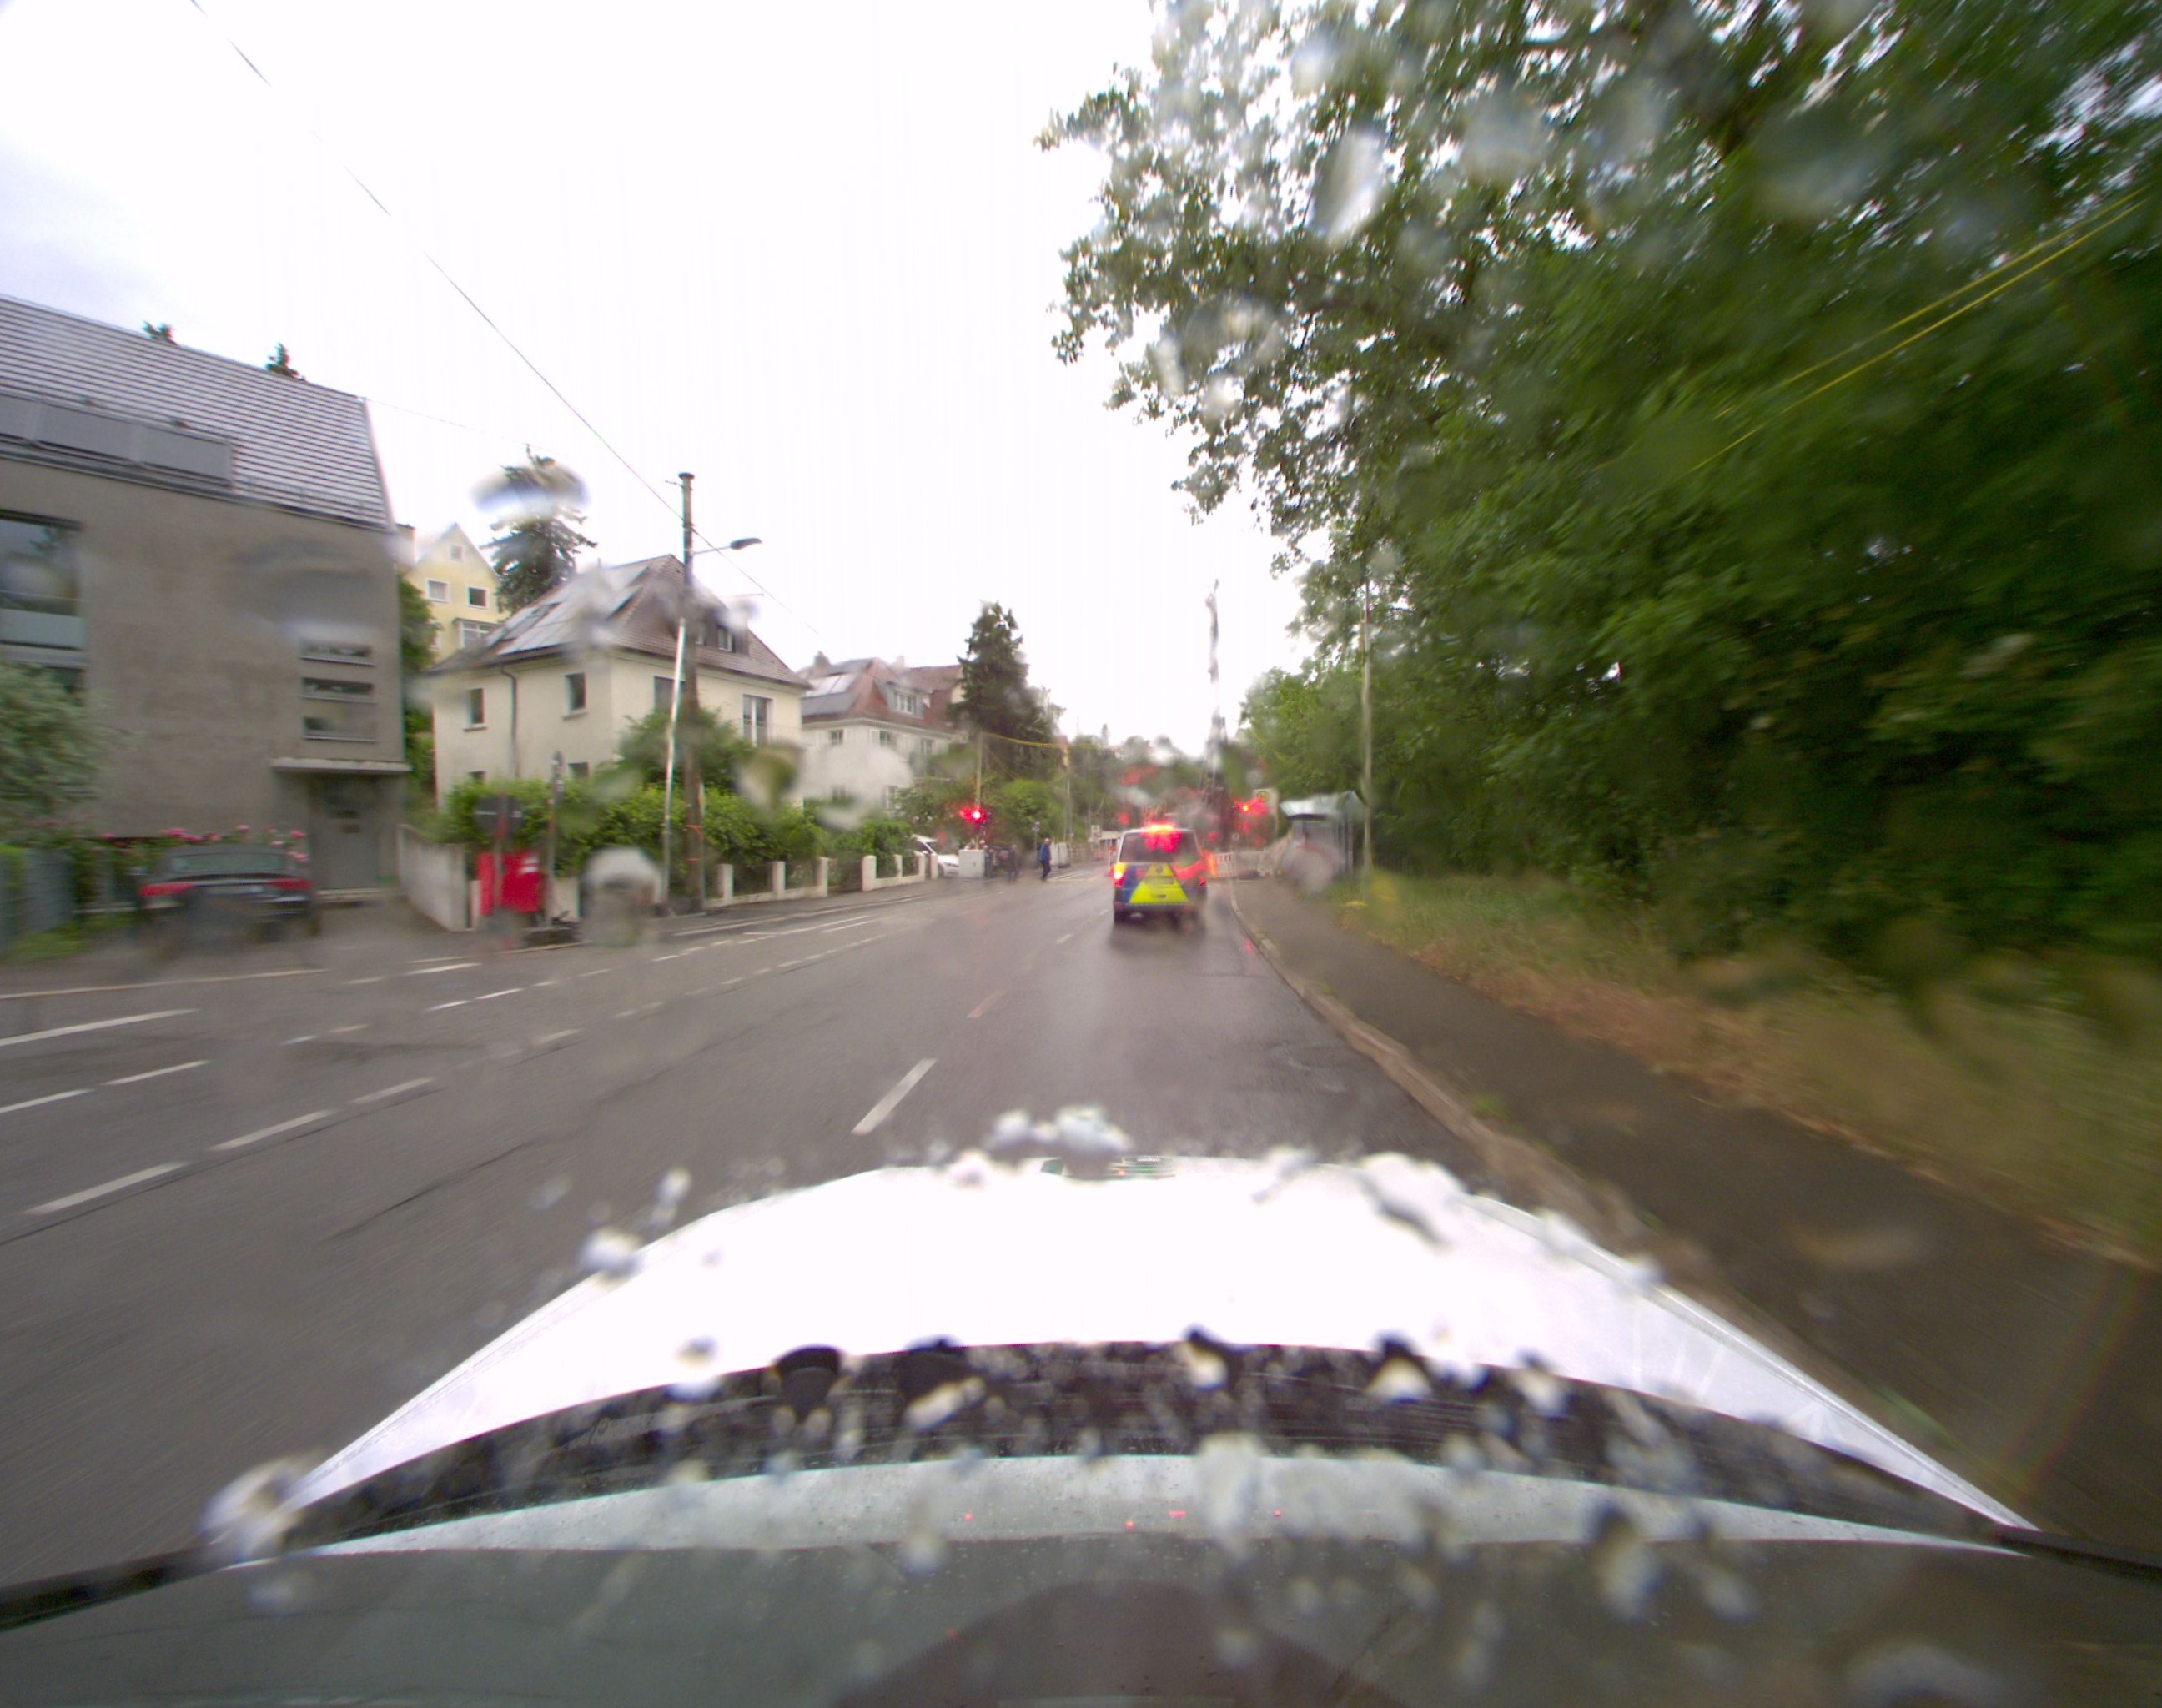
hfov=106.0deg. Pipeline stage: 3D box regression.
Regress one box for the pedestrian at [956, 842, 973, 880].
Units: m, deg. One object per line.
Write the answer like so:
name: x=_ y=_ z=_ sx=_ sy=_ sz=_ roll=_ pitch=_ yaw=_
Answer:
pedestrian: x=-4.906 y=0.301 z=34.445 sx=0.560 sy=1.582 sz=0.469 roll=1 pitch=-2 yaw=7

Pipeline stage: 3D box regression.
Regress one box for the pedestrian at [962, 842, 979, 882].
pedestrian: x=-4.749 y=0.345 z=35.009 sx=0.546 sy=1.668 sz=0.415 roll=1 pitch=-2 yaw=7

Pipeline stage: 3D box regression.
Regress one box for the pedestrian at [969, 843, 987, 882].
pedestrian: x=-4.573 y=0.380 z=36.098 sx=0.623 sy=1.715 sz=0.594 roll=1 pitch=-2 yaw=7

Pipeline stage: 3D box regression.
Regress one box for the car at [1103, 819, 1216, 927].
car: x=1.829 y=0.327 z=17.541 sx=1.981 sy=2.013 sz=4.415 roll=-1 pitch=1 yaw=11

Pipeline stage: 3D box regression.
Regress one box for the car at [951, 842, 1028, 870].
car: x=-5.280 y=0.103 z=47.198 sx=3.957 sy=1.486 sz=1.767 roll=1 pitch=-2 yaw=16

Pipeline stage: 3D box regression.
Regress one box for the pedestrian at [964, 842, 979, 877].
pedestrian: x=-4.794 y=0.262 z=35.724 sx=0.522 sy=1.507 sz=0.430 roll=1 pitch=-2 yaw=7

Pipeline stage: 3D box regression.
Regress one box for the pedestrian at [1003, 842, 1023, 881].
pedestrian: x=-2.842 y=0.309 z=34.211 sx=0.683 sy=1.604 sz=0.606 roll=1 pitch=-2 yaw=4

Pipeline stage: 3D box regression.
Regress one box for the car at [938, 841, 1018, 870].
car: x=-5.663 y=0.085 z=45.071 sx=3.957 sy=1.486 sz=1.767 roll=1 pitch=-2 yaw=16

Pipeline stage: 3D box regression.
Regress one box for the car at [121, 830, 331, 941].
car: x=-13.213 y=0.381 z=12.526 sx=3.949 sy=1.443 sz=1.851 roll=1 pitch=1 yaw=38

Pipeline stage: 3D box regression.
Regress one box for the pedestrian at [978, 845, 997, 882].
pedestrian: x=-3.964 y=0.405 z=34.604 sx=0.623 sy=1.522 sz=0.594 roll=1 pitch=-2 yaw=7

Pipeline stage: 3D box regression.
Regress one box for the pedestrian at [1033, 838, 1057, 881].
pedestrian: x=-1.513 y=0.246 z=34.440 sx=0.886 sy=1.787 sz=0.829 roll=1 pitch=-2 yaw=4

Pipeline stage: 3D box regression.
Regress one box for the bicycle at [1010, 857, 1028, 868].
bicycle: x=-3.804 y=0.515 z=50.017 sx=1.045 sy=0.662 sz=0.321 roll=1 pitch=-2 yaw=15

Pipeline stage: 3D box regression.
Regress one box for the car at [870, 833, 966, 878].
car: x=-7.551 y=0.060 z=37.747 sx=3.956 sy=2.013 sz=1.838 roll=0 pitch=0 yaw=17
